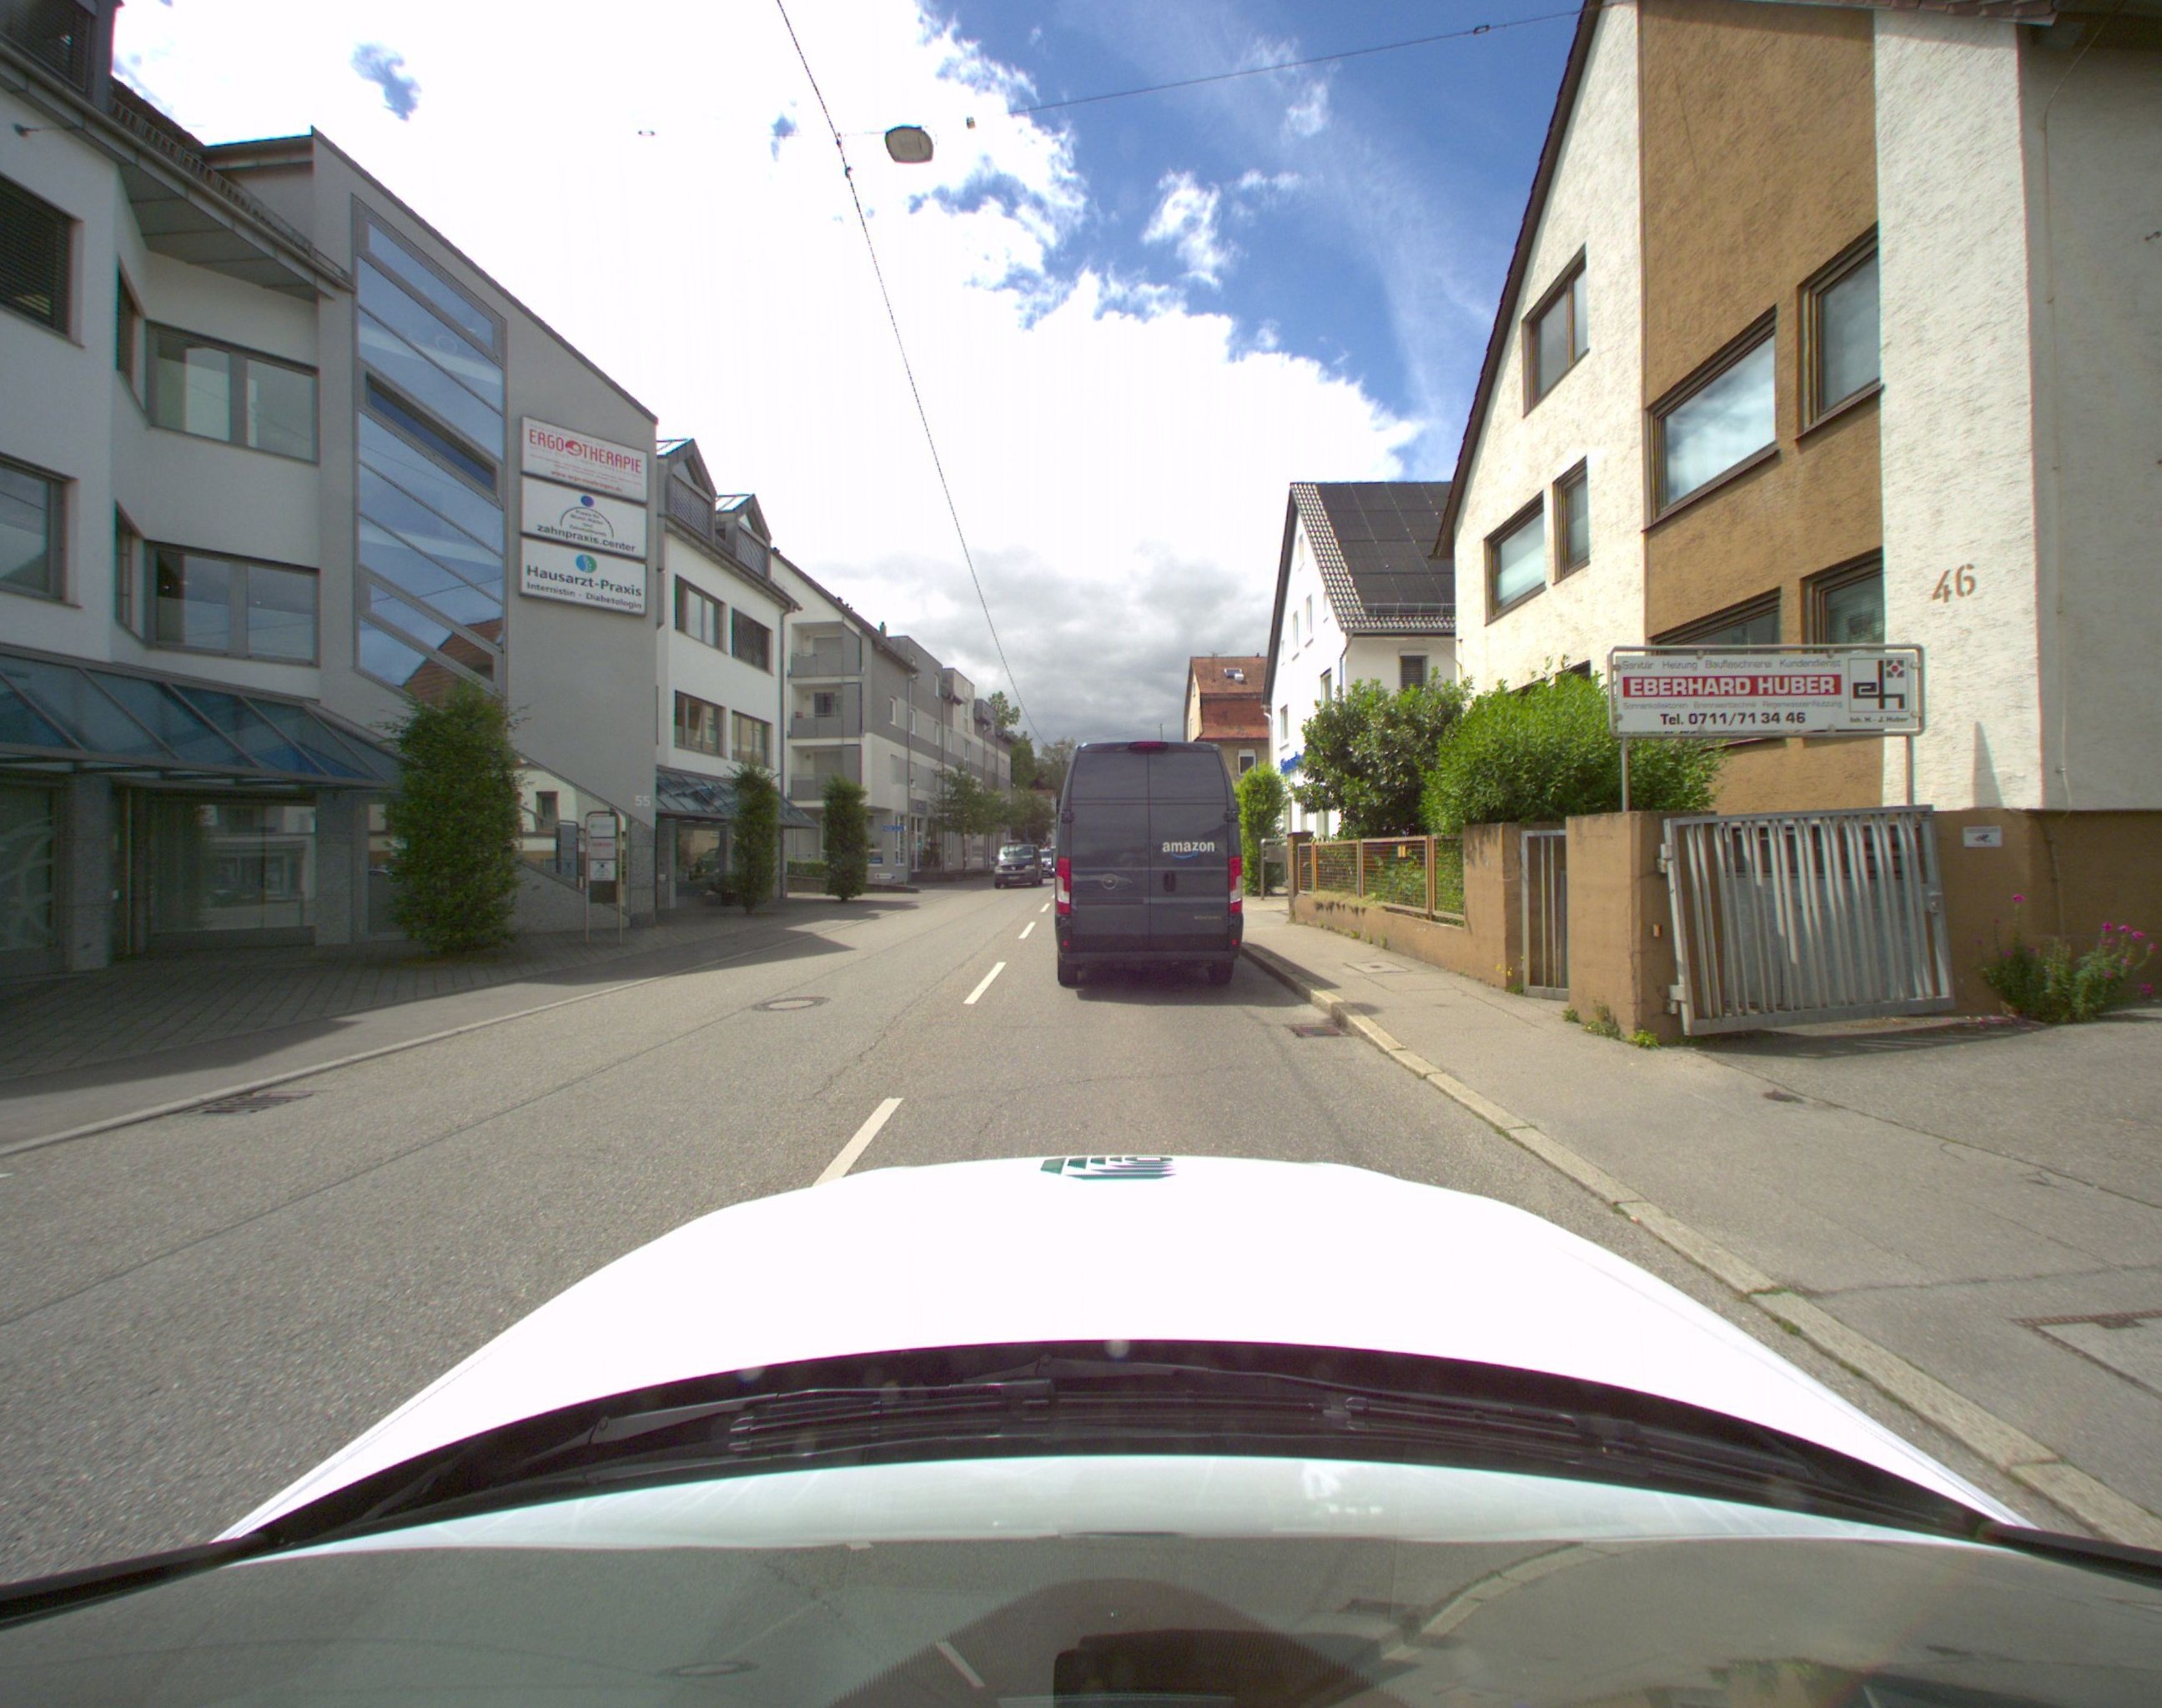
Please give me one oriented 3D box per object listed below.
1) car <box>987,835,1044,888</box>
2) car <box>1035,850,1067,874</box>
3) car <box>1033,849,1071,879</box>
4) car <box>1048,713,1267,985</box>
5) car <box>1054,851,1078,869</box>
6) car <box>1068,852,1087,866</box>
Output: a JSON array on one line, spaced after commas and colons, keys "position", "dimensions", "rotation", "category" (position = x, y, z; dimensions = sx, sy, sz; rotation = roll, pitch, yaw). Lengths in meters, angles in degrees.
[{"position": [-2.862, 0.318, 36.638], "dimensions": [2.098, 2.121, 4.765], "rotation": [-3, 0, 0], "category": "car"}, {"position": [-2.133, 0.547, 58.783], "dimensions": [2.098, 1.596, 4.649], "rotation": [-1, 0, 0], "category": "car"}, {"position": [-1.694, 0.561, 49.776], "dimensions": [2.098, 1.709, 4.765], "rotation": [-1, 0, 0], "category": "car"}, {"position": [0.799, -0.062, 11.262], "dimensions": [2.245, 2.795, 5.568], "rotation": [-1, 0, 0], "category": "car"}, {"position": [-1.369, 0.508, 75.755], "dimensions": [2.098, 1.596, 4.649], "rotation": [-1, 0, 0], "category": "car"}, {"position": [-0.380, 0.573, 93.951], "dimensions": [2.098, 1.596, 4.649], "rotation": [-1, 0, 0], "category": "car"}]
